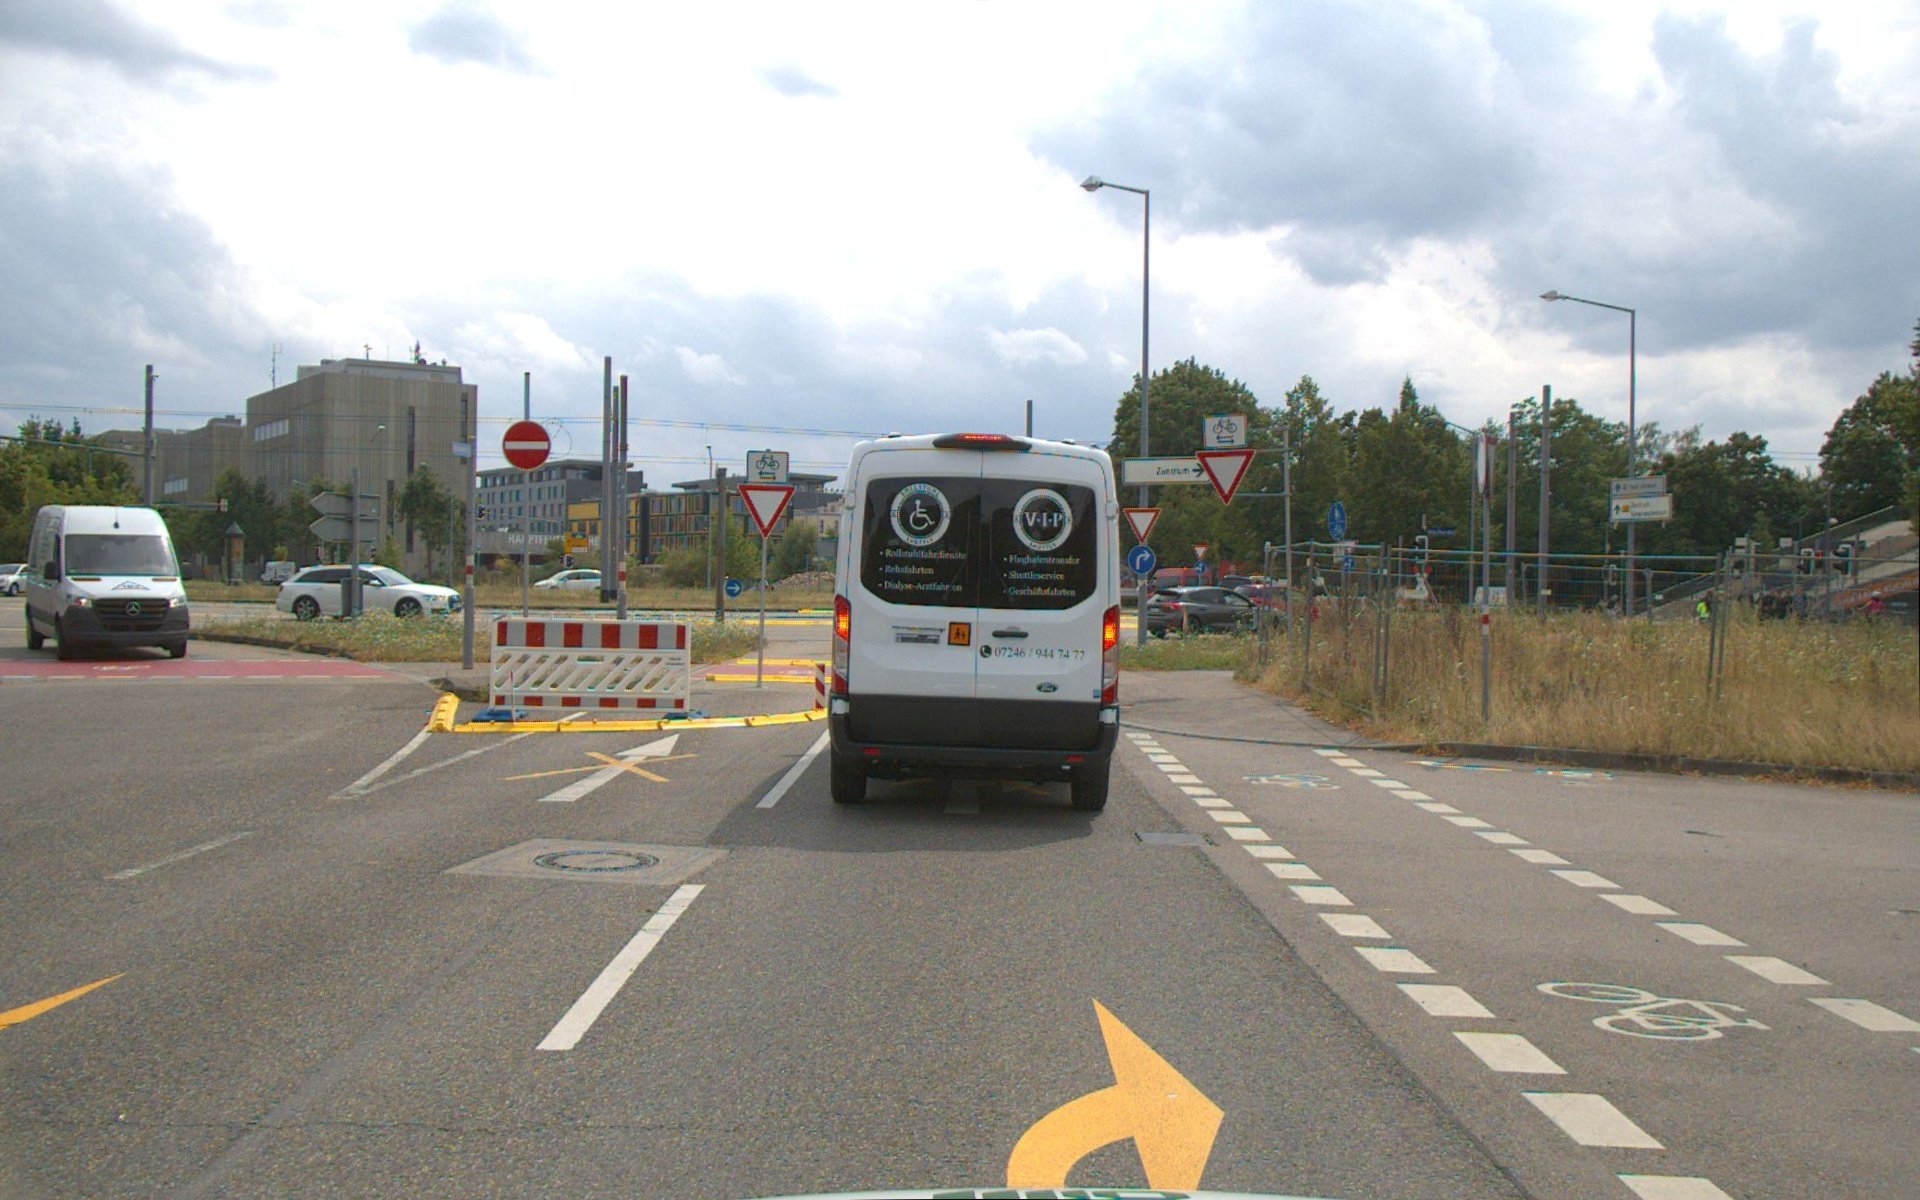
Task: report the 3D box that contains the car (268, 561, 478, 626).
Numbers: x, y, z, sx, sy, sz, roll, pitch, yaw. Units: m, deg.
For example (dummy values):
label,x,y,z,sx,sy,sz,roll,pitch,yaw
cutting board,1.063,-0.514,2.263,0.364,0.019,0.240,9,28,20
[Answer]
label,x,y,z,sx,sy,sz,roll,pitch,yaw
car,-15.602,-0.181,44.050,4.920,1.606,1.866,1,1,7

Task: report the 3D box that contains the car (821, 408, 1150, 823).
label,x,y,z,sx,sy,sz,roll,pitch,yaw
car,0.164,0.090,12.633,2.020,2.584,4.000,2,0,0

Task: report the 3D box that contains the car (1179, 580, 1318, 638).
label,x,y,z,sx,sy,sz,roll,pitch,yaw
car,8.995,0.247,51.650,3.937,1.691,1.876,-2,1,-26

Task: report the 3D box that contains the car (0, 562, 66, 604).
label,x,y,z,sx,sy,sz,roll,pitch,yaw
car,-42.063,-0.787,74.596,1.729,1.802,3.993,-1,1,-8

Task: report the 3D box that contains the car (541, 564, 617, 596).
label,x,y,z,sx,sy,sz,roll,pitch,yaw
car,-22.445,-1.181,97.484,3.955,1.802,1.746,-2,1,-36

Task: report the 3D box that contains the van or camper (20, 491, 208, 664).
label,x,y,z,sx,sy,sz,roll,pitch,yaw
van or camper,-15.308,-0.429,29.718,2.133,2.772,6.199,-2,2,-35

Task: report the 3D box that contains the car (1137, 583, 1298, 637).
label,x,y,z,sx,sy,sz,roll,pitch,yaw
car,7.168,0.248,46.027,4.287,1.377,1.609,-2,1,-25

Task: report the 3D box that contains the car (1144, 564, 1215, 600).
label,x,y,z,sx,sy,sz,roll,pitch,yaw
car,11.920,-0.983,90.185,1.979,1.848,4.383,-1,1,-22
